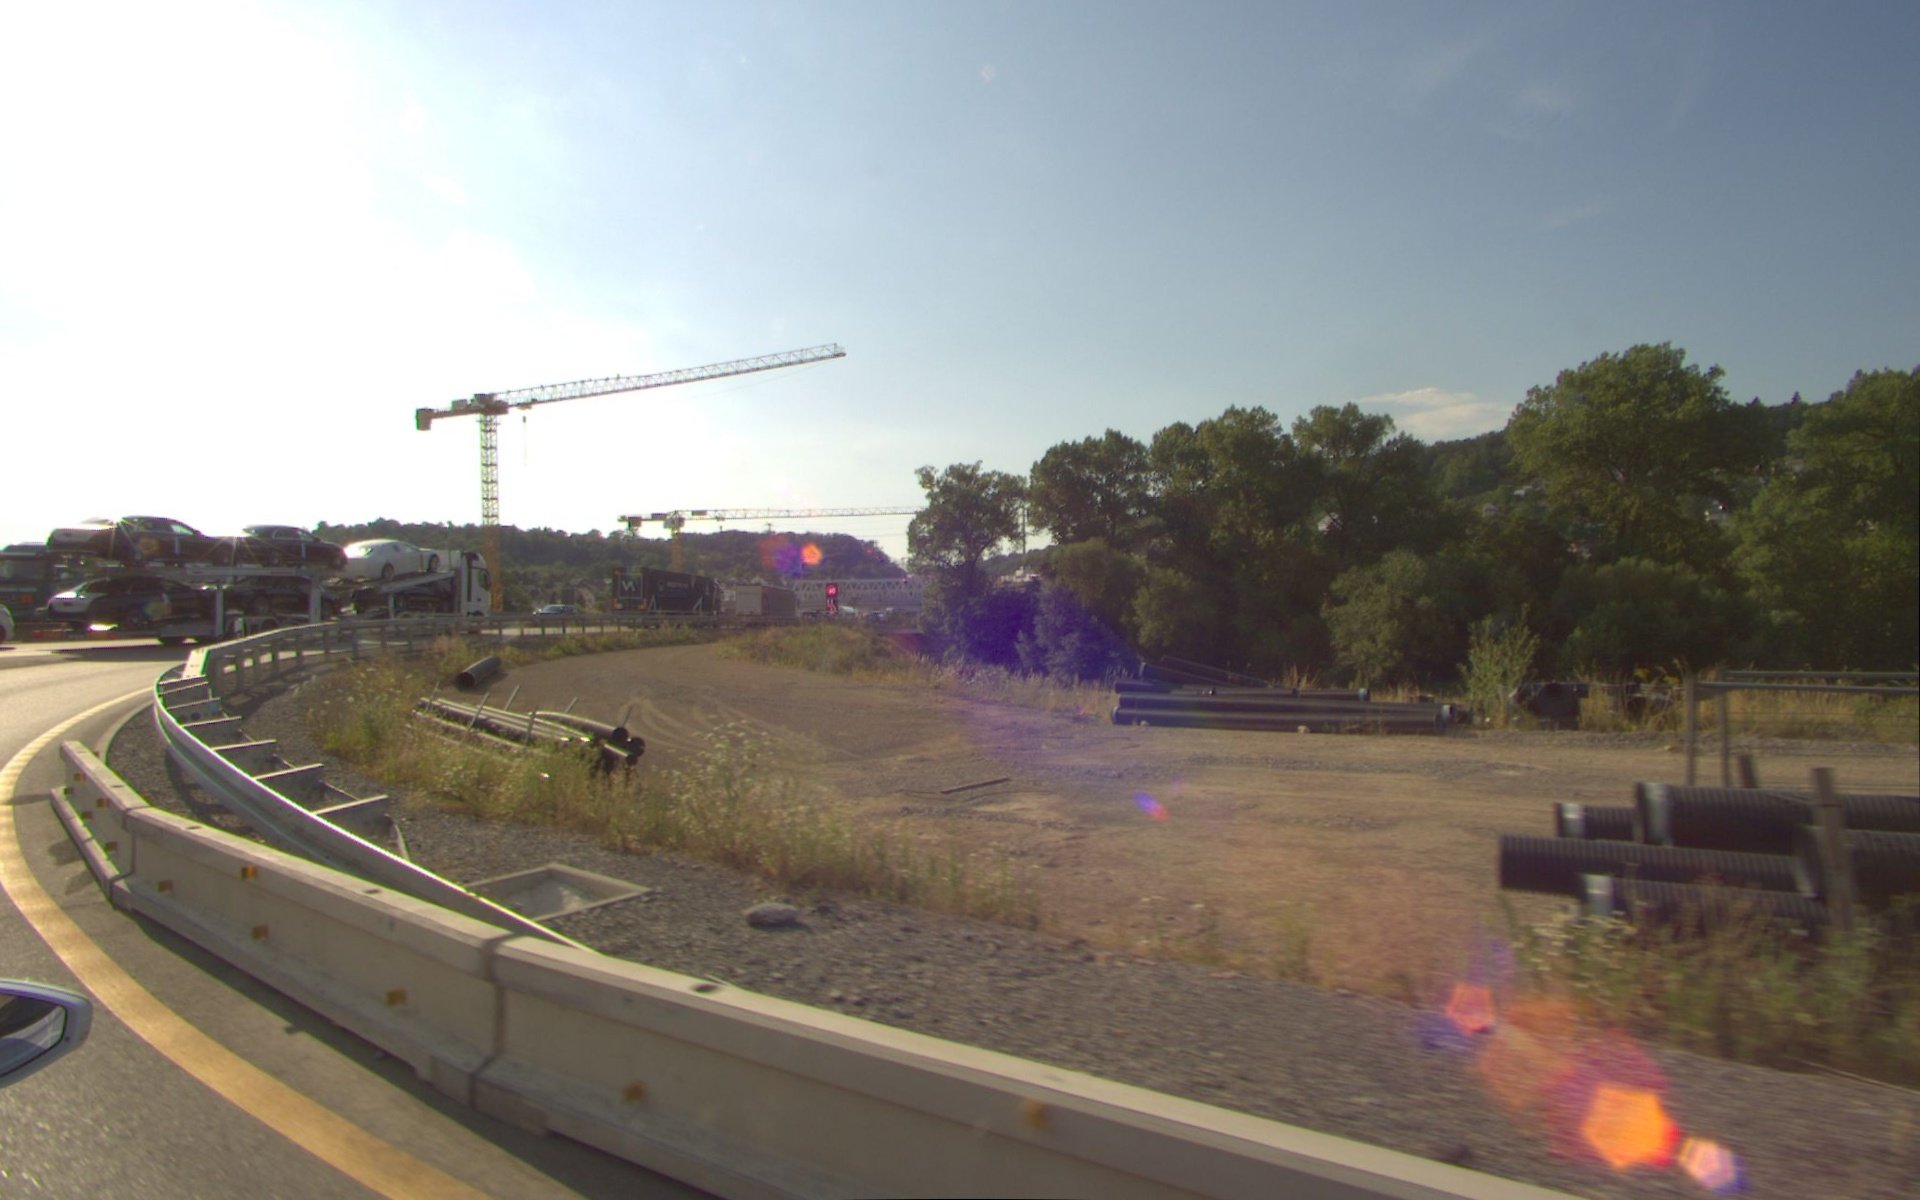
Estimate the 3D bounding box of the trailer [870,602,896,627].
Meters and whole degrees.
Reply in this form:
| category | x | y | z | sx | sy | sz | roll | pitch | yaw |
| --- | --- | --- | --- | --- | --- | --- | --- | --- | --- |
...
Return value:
| category | x | y | z | sx | sy | sz | roll | pitch | yaw |
| --- | --- | --- | --- | --- | --- | --- | --- | --- | --- |
| trailer | -14.210 | 2.771 | 186.293 | 3.053 | 4.370 | 14.255 | 0 | -1 | 3 |

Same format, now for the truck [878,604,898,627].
| category | x | y | z | sx | sy | sz | roll | pitch | yaw |
| --- | --- | --- | --- | --- | --- | --- | --- | --- | --- |
| truck | -13.815 | 2.923 | 192.975 | 3.047 | 4.341 | 6.626 | 0 | -1 | 3 |

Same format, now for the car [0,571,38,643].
| category | x | y | z | sx | sy | sz | roll | pitch | yaw |
| --- | --- | --- | --- | --- | --- | --- | --- | --- | --- |
| car | -28.197 | 0.148 | 26.895 | 1.995 | 2.007 | 4.979 | 2 | 0 | 4 |

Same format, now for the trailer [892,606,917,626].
| category | x | y | z | sx | sy | sz | roll | pitch | yaw |
| --- | --- | --- | --- | --- | --- | --- | --- | --- | --- |
| trailer | -12.377 | 3.676 | 224.572 | 4.030 | 4.370 | 14.255 | 0 | -1 | 3 |

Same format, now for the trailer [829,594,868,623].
| category | x | y | z | sx | sy | sz | roll | pitch | yaw |
| --- | --- | --- | --- | --- | --- | --- | --- | --- | --- |
| trailer | -16.416 | 1.396 | 148.266 | 3.330 | 4.048 | 14.748 | 0 | -1 | 3 |

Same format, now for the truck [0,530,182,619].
| category | x | y | z | sx | sy | sz | roll | pitch | yaw |
| --- | --- | --- | --- | --- | --- | --- | --- | --- | --- |
| truck | -33.963 | -0.871 | 39.147 | 2.106 | 3.174 | 5.687 | -1 | -1 | 8 |

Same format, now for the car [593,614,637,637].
| category | x | y | z | sx | sy | sz | roll | pitch | yaw |
| --- | --- | --- | --- | --- | --- | --- | --- | --- | --- |
| car | -26.079 | 1.915 | 75.779 | 1.800 | 1.675 | 4.001 | -1 | -1 | 1 |

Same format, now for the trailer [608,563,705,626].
| category | x | y | z | sx | sy | sz | roll | pitch | yaw |
| --- | --- | --- | --- | --- | --- | --- | --- | --- | --- |
| trailer | -21.634 | -0.235 | 72.246 | 2.911 | 4.144 | 10.795 | -1 | -1 | 4 |

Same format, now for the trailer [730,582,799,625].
| category | x | y | z | sx | sy | sz | roll | pitch | yaw |
| --- | --- | --- | --- | --- | --- | --- | --- | --- | --- |
| trailer | -19.681 | 0.459 | 101.918 | 3.330 | 4.048 | 14.748 | 0 | -1 | 3 |

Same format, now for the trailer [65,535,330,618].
| category | x | y | z | sx | sy | sz | roll | pitch | yaw |
| --- | --- | --- | --- | --- | --- | --- | --- | --- | --- |
| trailer | -33.180 | -0.804 | 44.473 | 2.106 | 3.174 | 10.980 | -1 | -1 | 8 |

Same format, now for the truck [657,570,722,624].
| category | x | y | z | sx | sy | sz | roll | pitch | yaw |
| --- | --- | --- | --- | --- | --- | --- | --- | --- | --- |
| truck | -21.123 | -0.133 | 78.658 | 2.838 | 4.048 | 6.625 | 0 | -1 | 5 |

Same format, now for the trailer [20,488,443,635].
| category | x | y | z | sx | sy | sz | roll | pitch | yaw |
| --- | --- | --- | --- | --- | --- | --- | --- | --- | --- |
| trailer | -24.229 | -0.883 | 35.577 | 2.810 | 4.048 | 15.749 | 0 | -1 | 3 |

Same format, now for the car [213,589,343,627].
| category | x | y | z | sx | sy | sz | roll | pitch | yaw |
| --- | --- | --- | --- | --- | --- | --- | --- | --- | --- |
| car | -29.712 | 0.375 | 43.843 | 1.995 | 1.520 | 4.979 | 2 | -1 | 4 |

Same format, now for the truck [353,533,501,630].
| category | x | y | z | sx | sy | sz | roll | pitch | yaw |
| --- | --- | --- | --- | --- | --- | --- | --- | --- | --- |
| truck | -23.702 | -0.700 | 44.960 | 2.802 | 4.048 | 6.626 | 0 | -1 | 3 |

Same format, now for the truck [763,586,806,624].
| category | x | y | z | sx | sy | sz | roll | pitch | yaw |
| --- | --- | --- | --- | --- | --- | --- | --- | --- | --- |
| truck | -19.225 | 0.641 | 110.016 | 3.289 | 4.048 | 6.626 | 0 | -1 | 3 |
